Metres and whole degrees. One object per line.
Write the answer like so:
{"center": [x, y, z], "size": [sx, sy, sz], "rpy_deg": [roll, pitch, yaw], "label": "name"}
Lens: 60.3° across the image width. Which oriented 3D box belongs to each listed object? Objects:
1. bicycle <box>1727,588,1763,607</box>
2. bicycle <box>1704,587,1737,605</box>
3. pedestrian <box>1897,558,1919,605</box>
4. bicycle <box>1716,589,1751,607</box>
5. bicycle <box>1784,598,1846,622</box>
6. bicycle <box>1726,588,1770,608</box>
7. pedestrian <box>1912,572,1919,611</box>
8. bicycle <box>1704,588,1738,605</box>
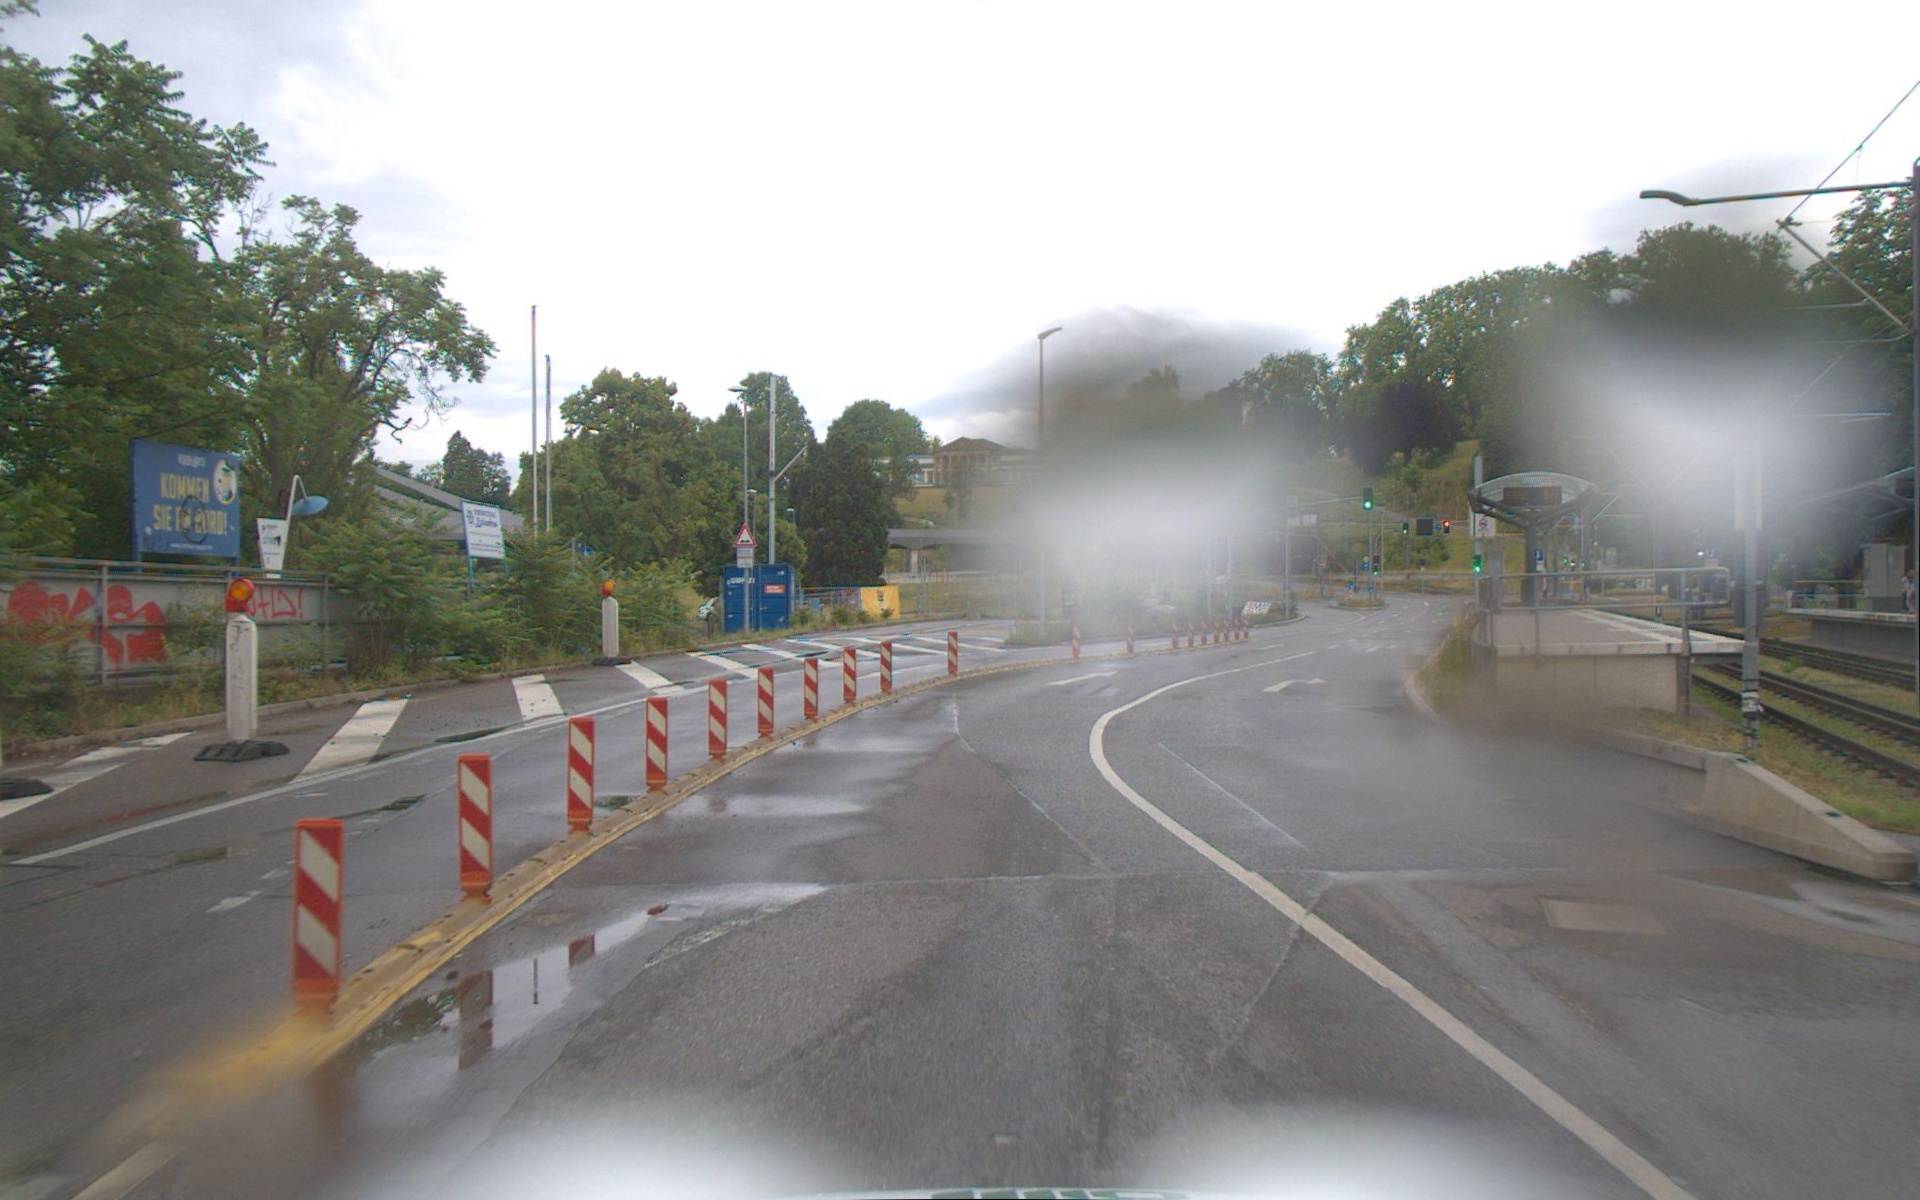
{"center": [45.180, -0.134, 95.153], "size": [1.772, 1.050, 0.653], "rpy_deg": [-1, 0, 16], "label": "bicycle"}
{"center": [47.319, -0.243, 102.936], "size": [1.772, 1.050, 0.653], "rpy_deg": [-1, 0, 16], "label": "bicycle"}
{"center": [25.758, -0.506, 44.906], "size": [0.428, 1.247, 0.551], "rpy_deg": [-1, 0, 19], "label": "pedestrian"}
{"center": [45.703, -0.131, 97.679], "size": [1.772, 1.050, 0.653], "rpy_deg": [-1, 0, 16], "label": "bicycle"}
{"center": [36.651, 0.425, 70.921], "size": [2.272, 0.974, 0.570], "rpy_deg": [-1, 0, 17], "label": "bicycle"}
{"center": [44.919, -0.108, 94.317], "size": [2.176, 1.050, 0.690], "rpy_deg": [-1, 0, 16], "label": "bicycle"}
{"center": [25.694, -0.228, 44.075], "size": [0.428, 1.026, 0.551], "rpy_deg": [-1, 0, 19], "label": "pedestrian"}
{"center": [46.658, -0.219, 101.399], "size": [1.772, 1.050, 0.653], "rpy_deg": [-1, 0, 16], "label": "bicycle"}
